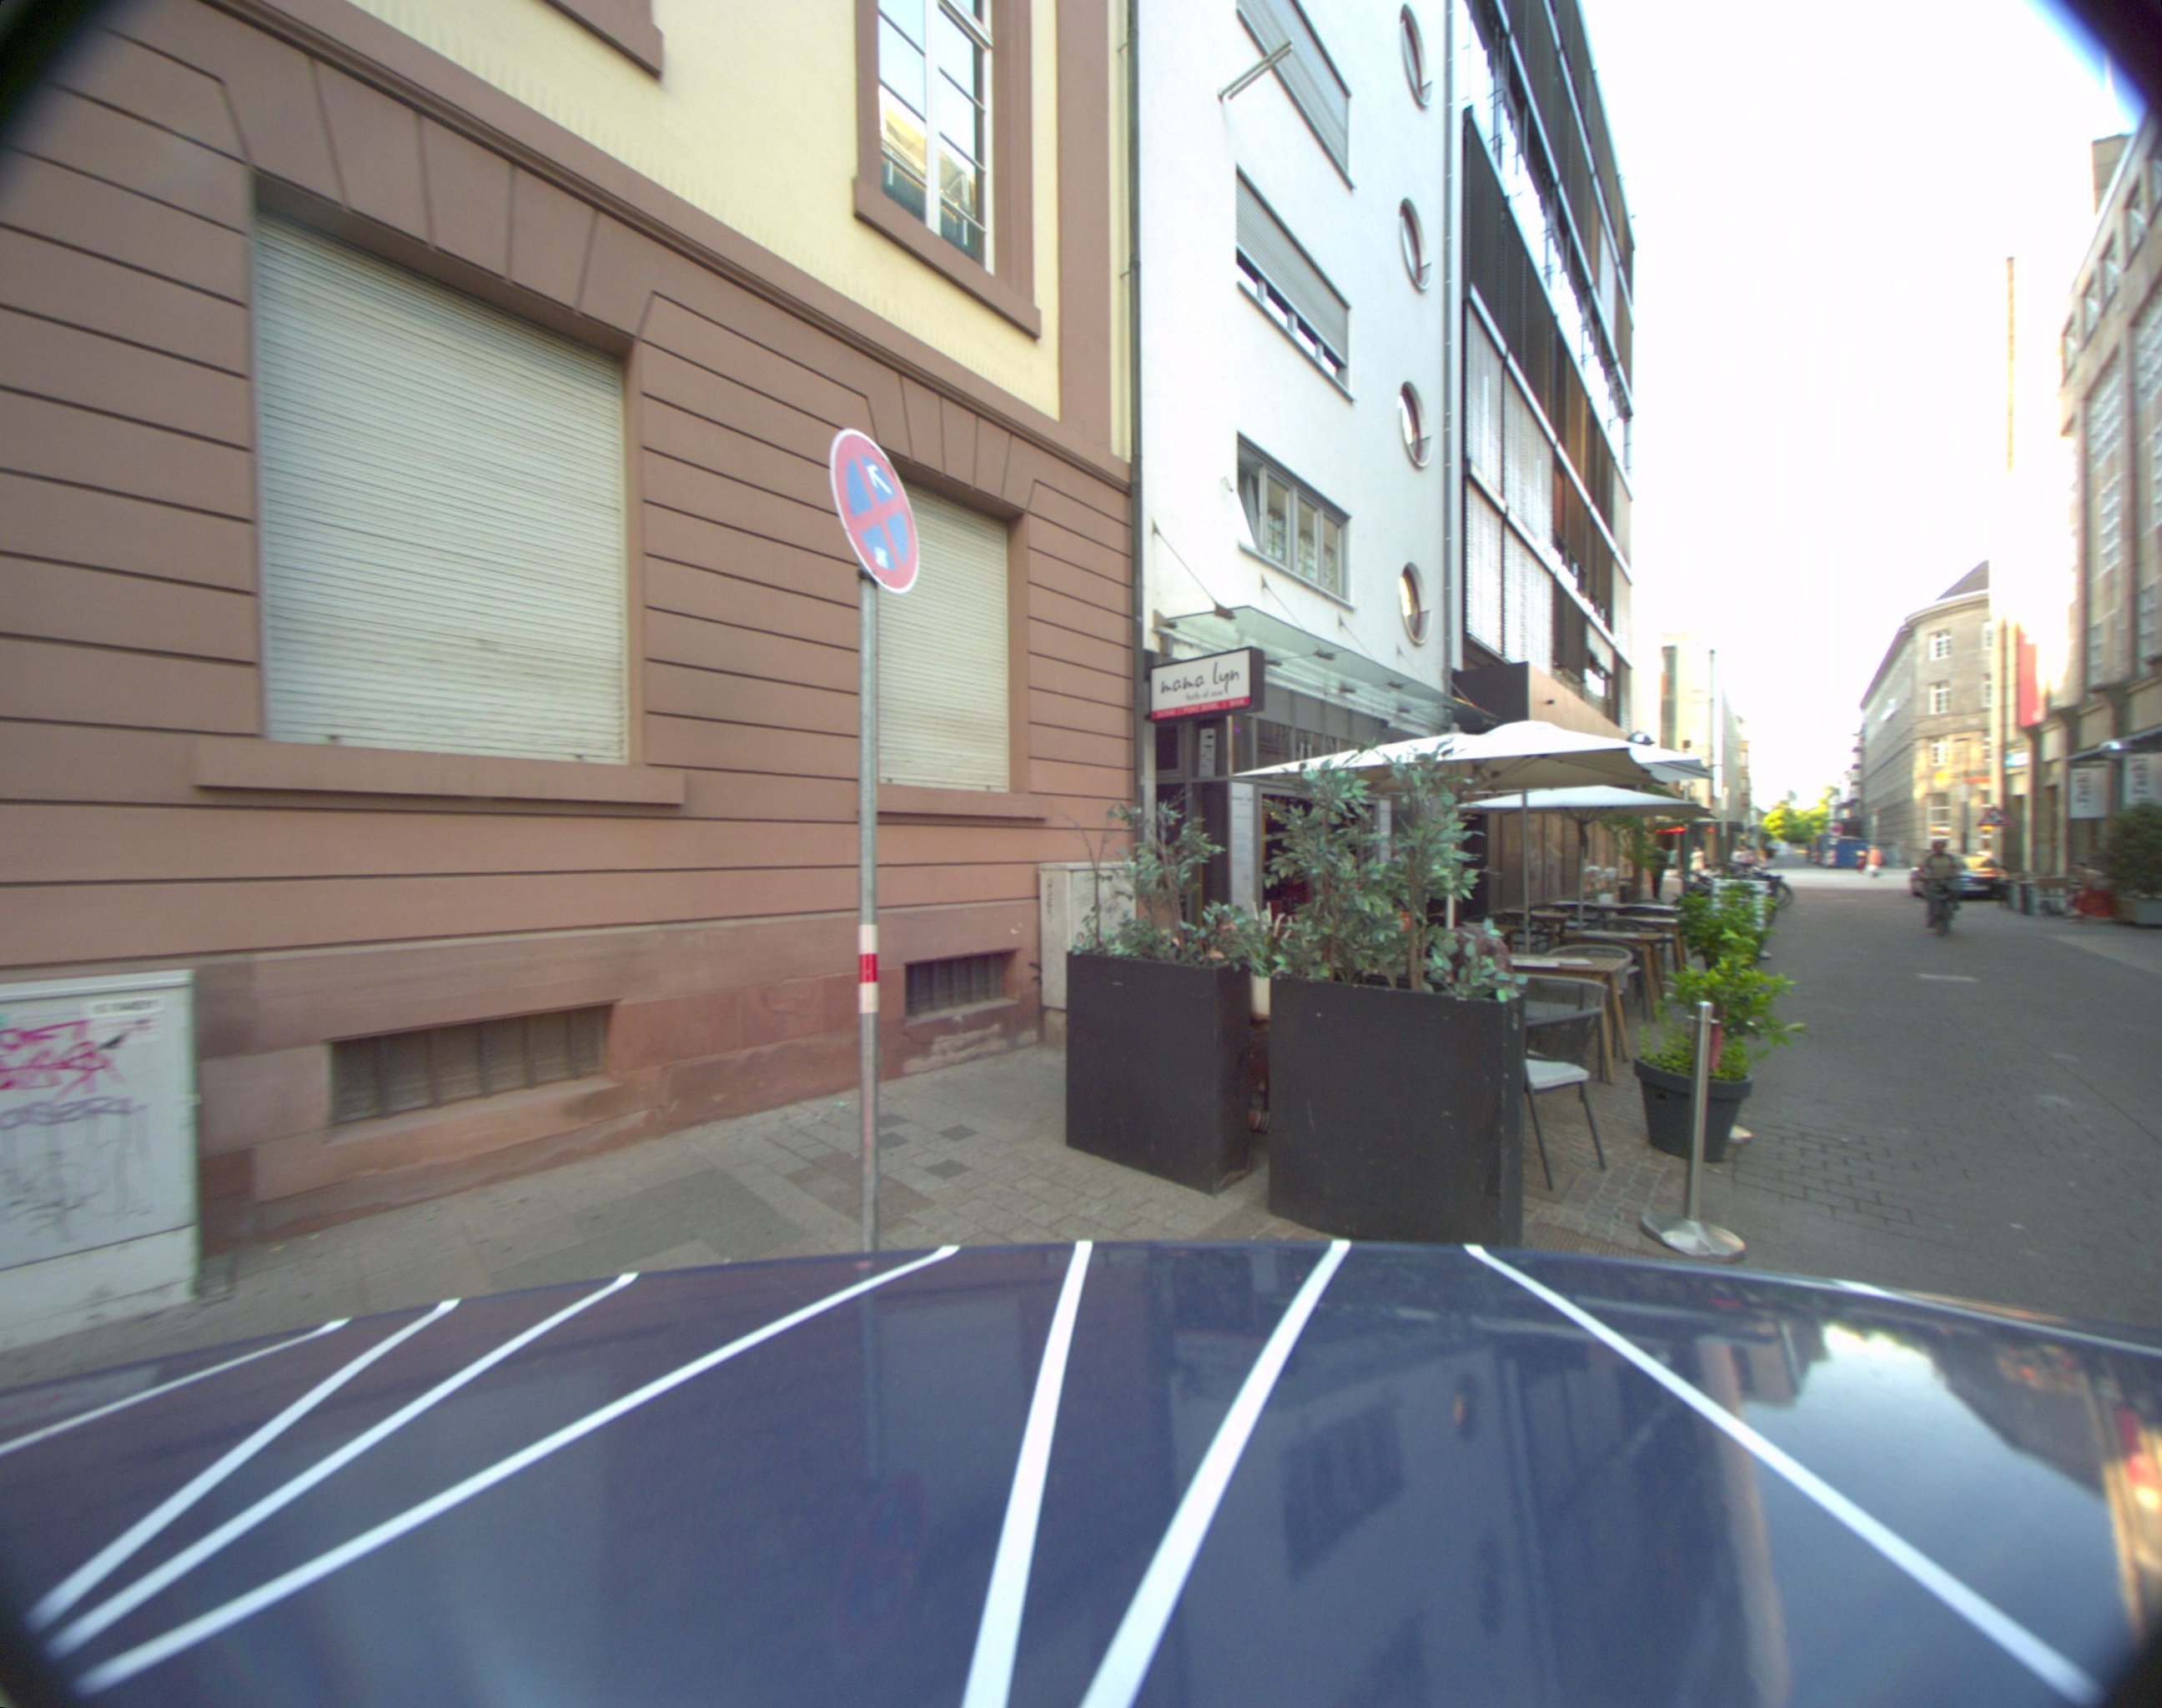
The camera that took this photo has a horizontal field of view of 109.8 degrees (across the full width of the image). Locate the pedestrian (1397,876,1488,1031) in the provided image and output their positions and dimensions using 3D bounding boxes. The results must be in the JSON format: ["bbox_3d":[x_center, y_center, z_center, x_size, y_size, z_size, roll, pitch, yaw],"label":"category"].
[{"bbox_3d":[3.632,0.947,7.621,0.574,1.412,0.870,0,1,44],"label":"pedestrian"}]

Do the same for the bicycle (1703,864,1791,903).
[{"bbox_3d":[20.609,0.897,23.557,2.034,1.161,0.620,0,1,42],"label":"bicycle"}]

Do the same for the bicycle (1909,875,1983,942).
[{"bbox_3d":[16.421,0.998,14.469,0.698,1.121,2.009,0,0,42],"label":"bicycle"}]

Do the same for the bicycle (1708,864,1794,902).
[{"bbox_3d":[21.412,0.909,24.319,2.034,1.161,0.620,0,1,42],"label":"bicycle"}]

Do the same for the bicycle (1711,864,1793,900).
[{"bbox_3d":[22.386,0.918,25.380,2.034,1.161,0.620,0,1,42],"label":"bicycle"}]

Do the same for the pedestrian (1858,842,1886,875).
[{"bbox_3d":[39.802,0.237,38.248,0.763,1.628,0.669,0,2,20],"label":"pedestrian"}]

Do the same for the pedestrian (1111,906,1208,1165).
[{"bbox_3d":[0.444,0.960,4.221,0.362,1.298,0.496,0,1,29],"label":"pedestrian"}]

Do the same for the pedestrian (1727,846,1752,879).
[{"bbox_3d":[32.836,0.412,37.899,0.781,1.612,0.636,0,2,20],"label":"pedestrian"}]

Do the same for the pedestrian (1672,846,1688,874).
[{"bbox_3d":[33.142,0.349,42.036,0.634,1.516,0.784,1,2,44],"label":"pedestrian"}]

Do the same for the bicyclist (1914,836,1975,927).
[{"bbox_3d":[16.360,0.510,14.413,0.674,1.660,0.871,0,1,42],"label":"bicyclist"}]

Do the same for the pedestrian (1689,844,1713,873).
[{"bbox_3d":[34.149,0.242,41.851,0.636,1.612,0.782,-1,2,-6],"label":"pedestrian"}]

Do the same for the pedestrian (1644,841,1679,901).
[{"bbox_3d":[18.070,0.518,23.648,0.802,1.825,0.676,0,1,45],"label":"pedestrian"}]

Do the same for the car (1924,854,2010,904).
[{"bbox_3d":[27.666,0.726,23.815,3.611,1.414,1.599,-1,1,-43],"label":"car"}]

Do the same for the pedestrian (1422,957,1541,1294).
[{"bbox_3d":[1.659,1.067,3.142,0.399,1.206,0.384,0,1,33],"label":"pedestrian"}]

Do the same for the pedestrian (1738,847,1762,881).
[{"bbox_3d":[32.604,0.477,37.045,0.781,1.612,0.637,0,2,35],"label":"pedestrian"}]

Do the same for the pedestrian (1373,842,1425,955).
[{"bbox_3d":[5.142,0.695,12.285,0.638,1.762,0.603,0,1,38],"label":"pedestrian"}]

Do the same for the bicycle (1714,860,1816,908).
[{"bbox_3d":[19.075,0.817,21.247,2.033,1.161,0.667,4,3,42],"label":"bicycle"}]

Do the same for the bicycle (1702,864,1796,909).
[{"bbox_3d":[19.798,0.927,22.560,2.033,1.161,0.620,4,3,42],"label":"bicycle"}]

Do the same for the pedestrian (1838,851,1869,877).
[{"bbox_3d":[47.656,0.606,46.855,0.993,1.563,0.919,-1,1,-3],"label":"pedestrian"}]

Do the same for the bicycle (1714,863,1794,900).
[{"bbox_3d":[23.068,0.912,26.076,2.034,1.209,0.620,0,1,42],"label":"bicycle"}]
